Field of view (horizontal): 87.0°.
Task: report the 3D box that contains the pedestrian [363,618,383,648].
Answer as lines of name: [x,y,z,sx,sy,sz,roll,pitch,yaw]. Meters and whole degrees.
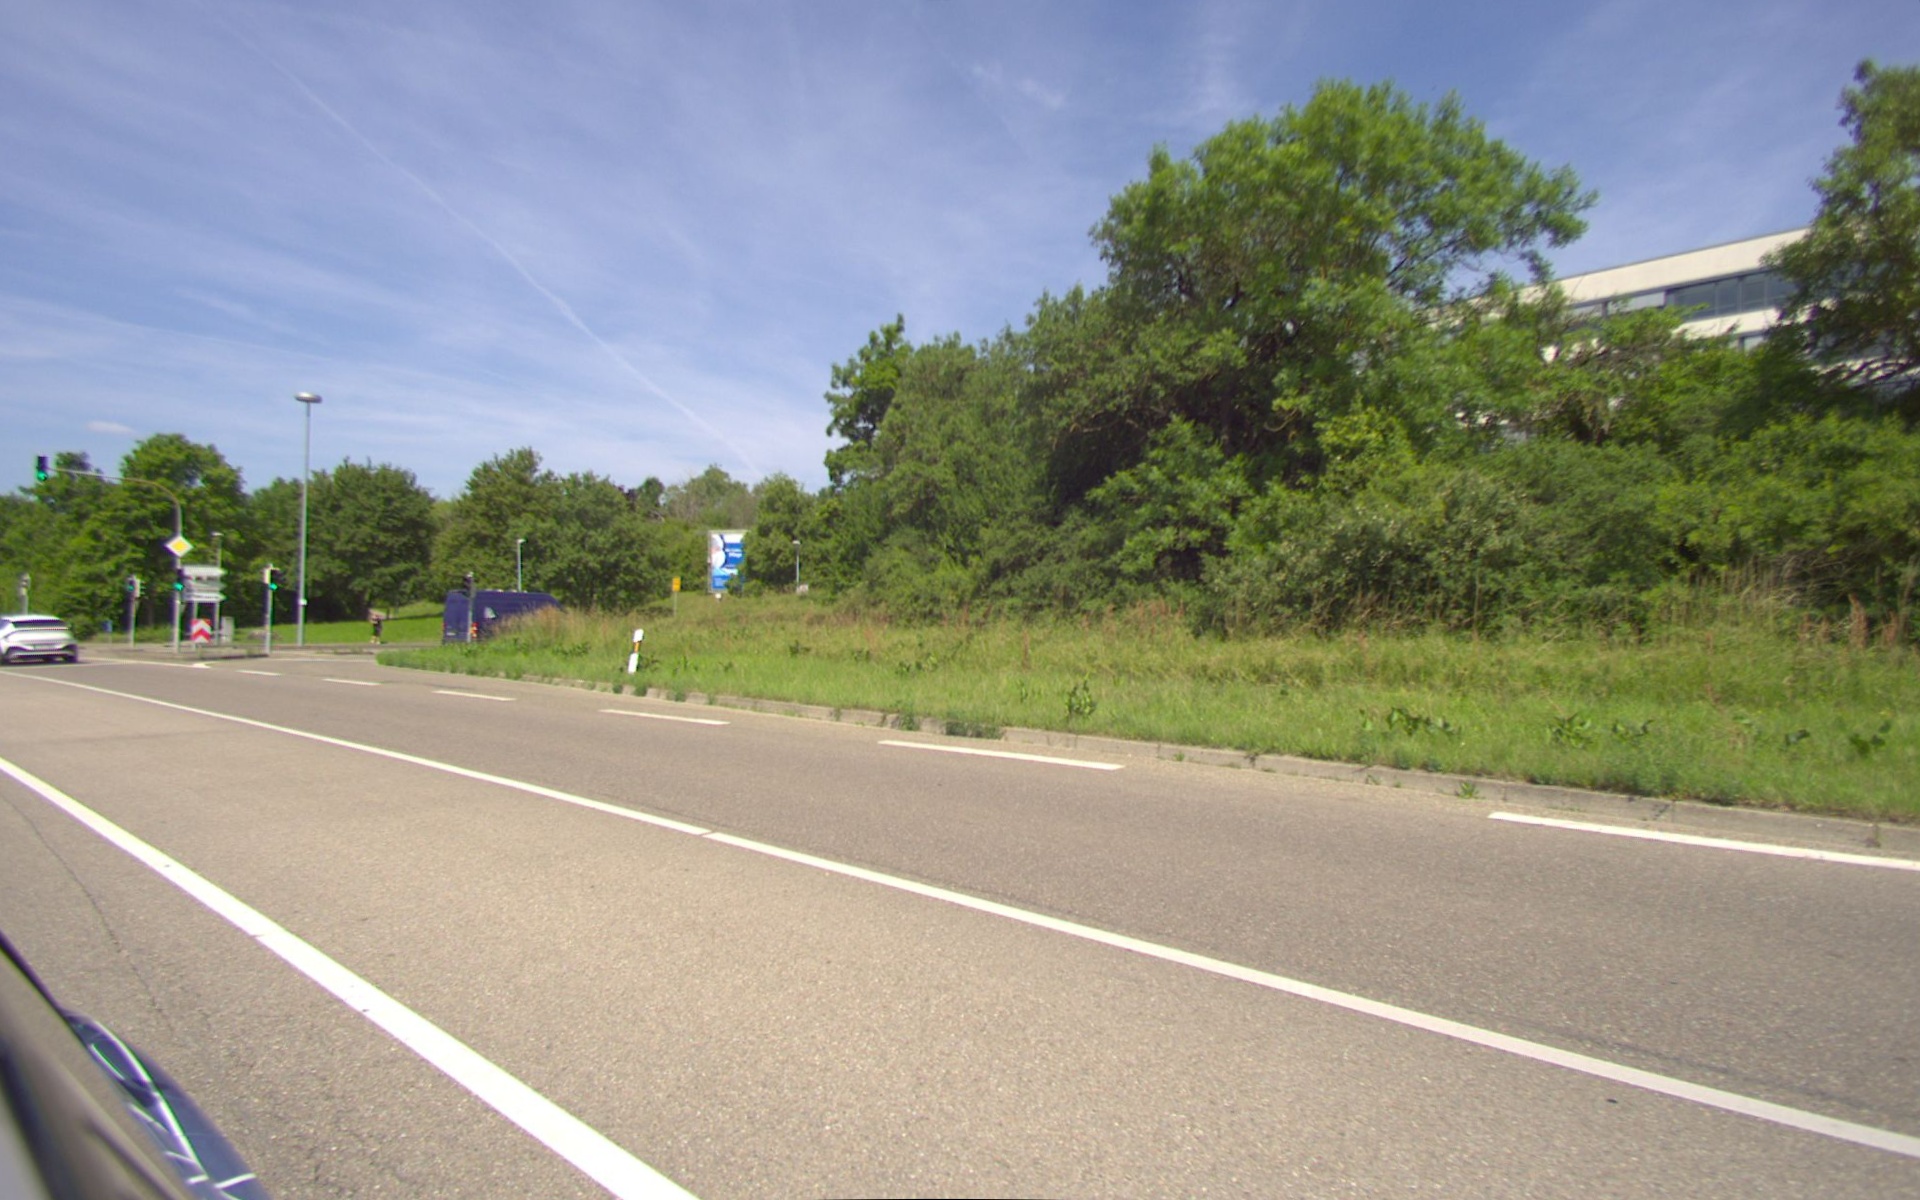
pedestrian: [-35.815,2.015,61.741,0.906,1.749,0.902,-1,0,-20]

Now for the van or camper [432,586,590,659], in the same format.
van or camper: [-20.206,1.176,46.058,2.229,2.936,7.200,-1,-4,19]

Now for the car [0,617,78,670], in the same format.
car: [-29.909,1.336,32.293,4.622,1.560,1.918,-1,0,39]
